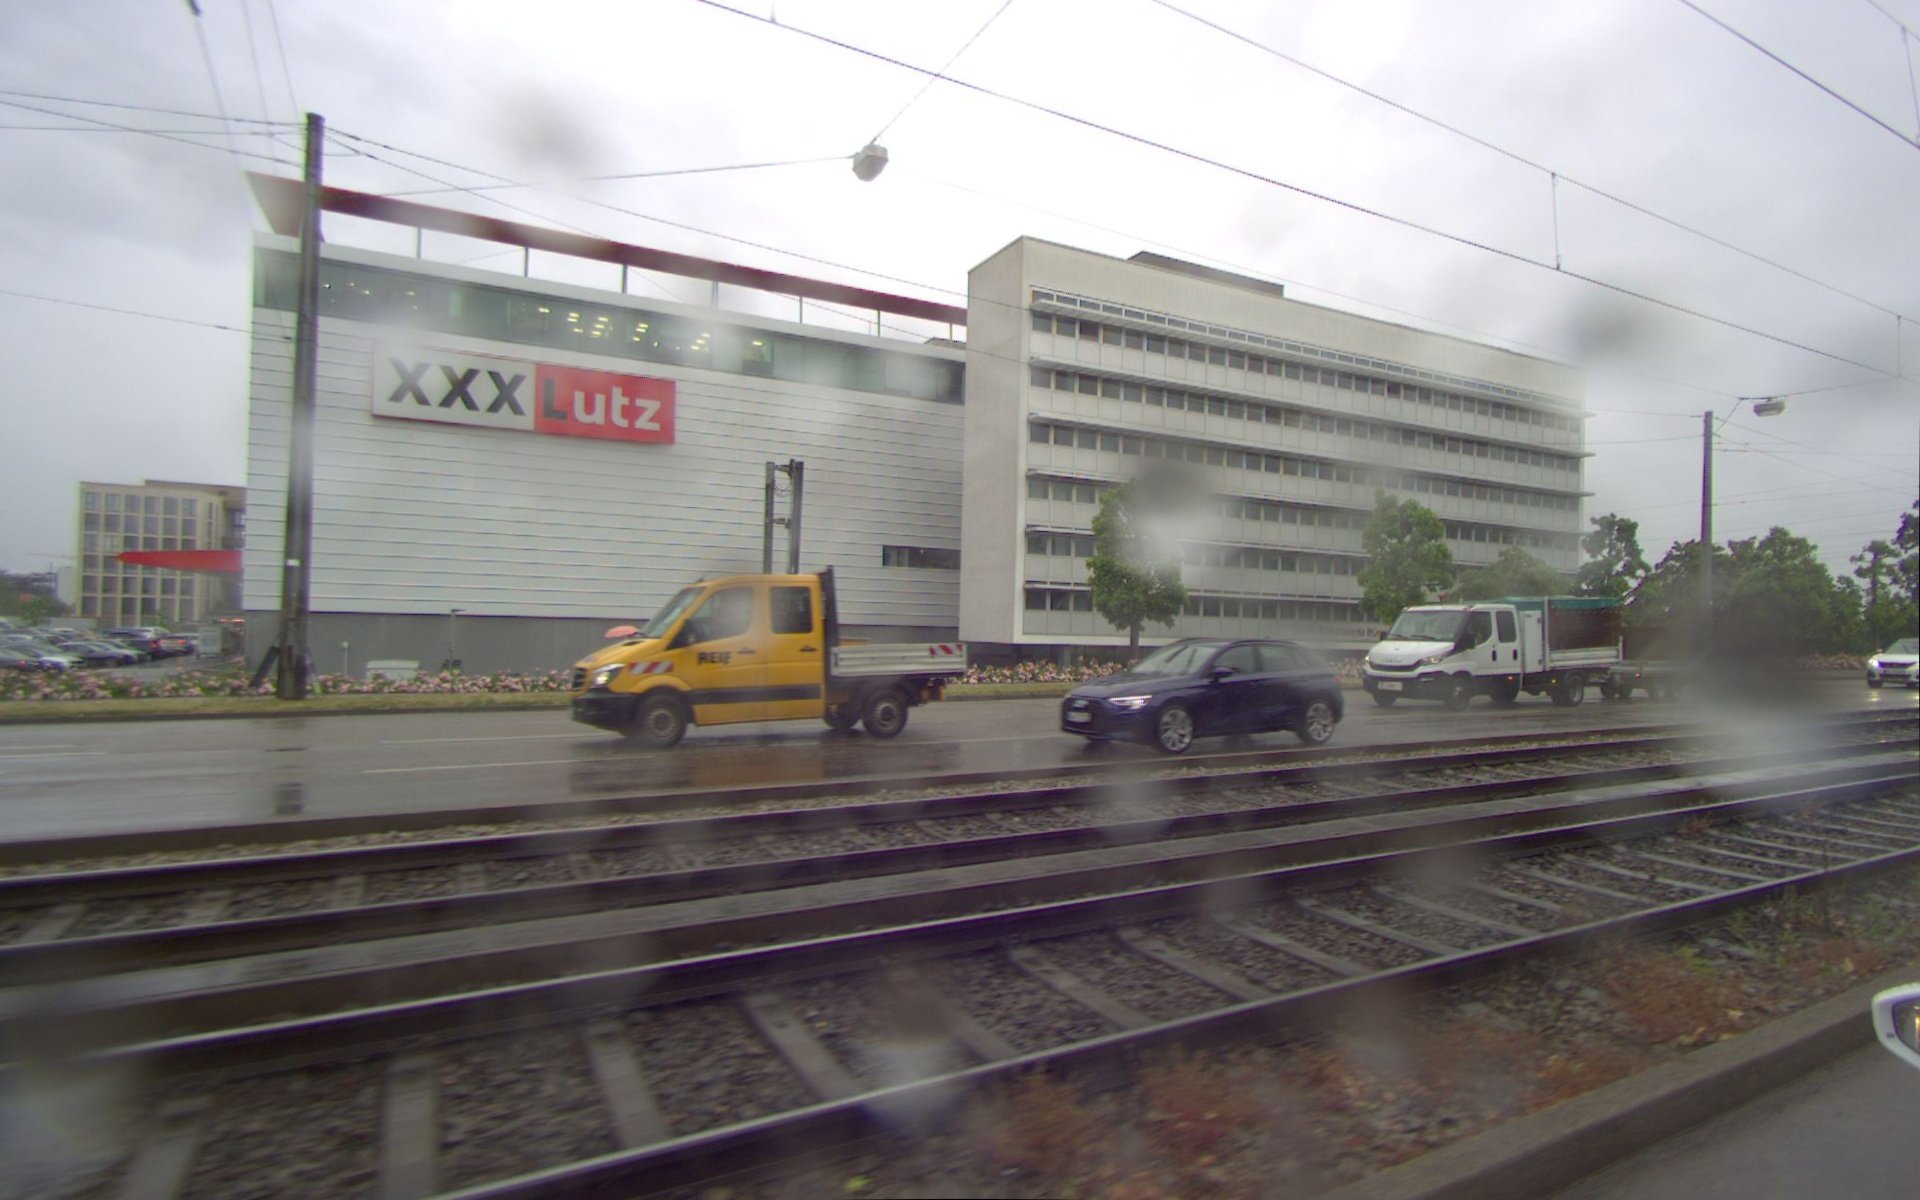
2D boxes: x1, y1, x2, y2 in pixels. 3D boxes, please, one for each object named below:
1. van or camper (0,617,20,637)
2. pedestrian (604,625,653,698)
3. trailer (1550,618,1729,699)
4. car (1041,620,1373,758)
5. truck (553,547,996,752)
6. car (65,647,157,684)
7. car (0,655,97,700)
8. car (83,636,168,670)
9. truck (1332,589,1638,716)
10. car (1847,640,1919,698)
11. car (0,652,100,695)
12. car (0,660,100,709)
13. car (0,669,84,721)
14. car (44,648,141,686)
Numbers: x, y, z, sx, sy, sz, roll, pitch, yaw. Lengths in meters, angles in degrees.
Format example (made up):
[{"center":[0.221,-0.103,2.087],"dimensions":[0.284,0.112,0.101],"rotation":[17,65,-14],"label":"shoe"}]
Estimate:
[{"center":[-106.572,2.945,110.097],"dimensions":[4.942,2.141,1.769],"rotation":[2,0,-35],"label":"van or camper"},{"center":[-8.521,1.574,25.777],"dimensions":[1.036,1.786,0.820],"rotation":[2,1,-27],"label":"pedestrian"},{"center":[17.091,1.434,25.268],"dimensions":[3.786,1.817,2.111],"rotation":[2,1,-27],"label":"trailer"},{"center":[3.503,1.156,14.014],"dimensions":[4.481,1.644,1.811],"rotation":[2,-1,-29],"label":"car"},{"center":[-2.598,0.729,14.670],"dimensions":[5.992,2.493,2.218],"rotation":[2,-3,-29],"label":"truck"},{"center":[-51.689,3.968,61.254],"dimensions":[3.956,2.040,1.982],"rotation":[2,0,-32],"label":"car"},{"center":[-46.315,3.877,50.620],"dimensions":[3.955,2.040,1.983],"rotation":[2,0,-31],"label":"car"},{"center":[-54.333,3.462,65.458],"dimensions":[3.956,2.040,1.982],"rotation":[2,0,-32],"label":"car"},{"center":[11.904,1.125,22.629],"dimensions":[7.127,2.490,2.425],"rotation":[2,1,-28],"label":"truck"},{"center":[31.423,2.242,33.018],"dimensions":[4.628,1.705,1.765],"rotation":[2,1,-27],"label":"car"},{"center":[-48.116,3.837,52.879],"dimensions":[3.955,2.040,1.983],"rotation":[2,0,-31],"label":"car"},{"center":[-42.525,3.864,46.357],"dimensions":[3.955,2.040,1.983],"rotation":[2,0,-31],"label":"car"},{"center":[-40.818,4.103,43.543],"dimensions":[3.955,2.040,1.983],"rotation":[2,1,-32],"label":"car"},{"center":[-50.791,3.916,58.912],"dimensions":[3.956,2.040,1.982],"rotation":[2,0,-32],"label":"car"}]
